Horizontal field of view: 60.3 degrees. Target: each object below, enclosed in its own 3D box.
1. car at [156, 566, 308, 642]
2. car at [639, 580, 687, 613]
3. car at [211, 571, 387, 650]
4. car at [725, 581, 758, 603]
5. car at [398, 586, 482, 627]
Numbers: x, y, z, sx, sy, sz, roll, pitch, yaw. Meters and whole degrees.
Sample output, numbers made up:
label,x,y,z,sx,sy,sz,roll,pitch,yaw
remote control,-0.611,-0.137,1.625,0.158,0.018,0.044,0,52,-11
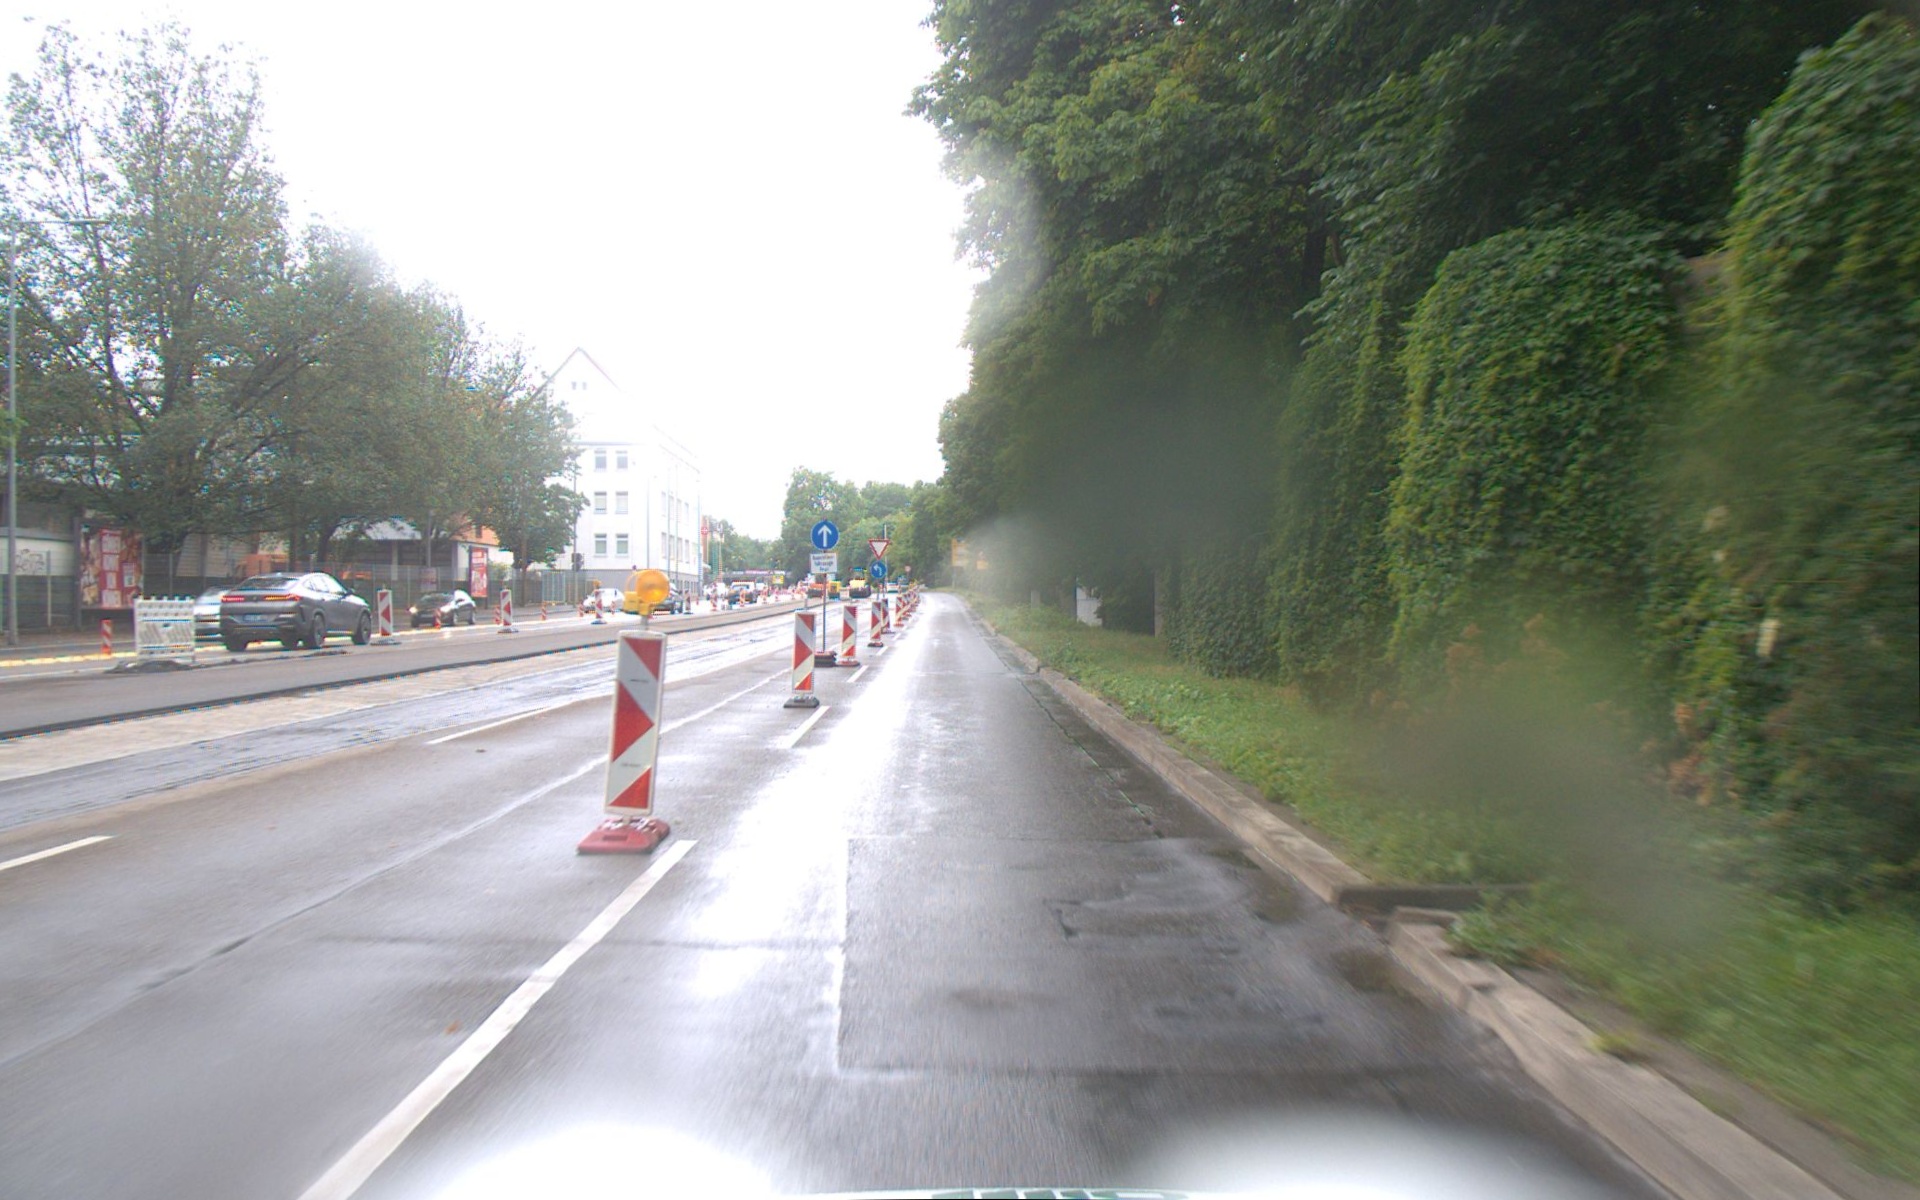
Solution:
label,x,y,z,sx,sy,sz,roll,pitch,yaw
car,-18.356,0.094,41.946,1.953,1.797,4.278,1,0,0
car,-15.428,-0.188,86.119,1.817,1.677,3.999,1,0,-1
car,-14.863,0.228,37.529,2.034,1.641,5.055,1,0,-1
car,-16.073,-0.560,121.865,1.953,1.545,3.999,1,0,-1
car,-21.059,0.257,67.144,1.953,1.614,4.618,0,0,0
